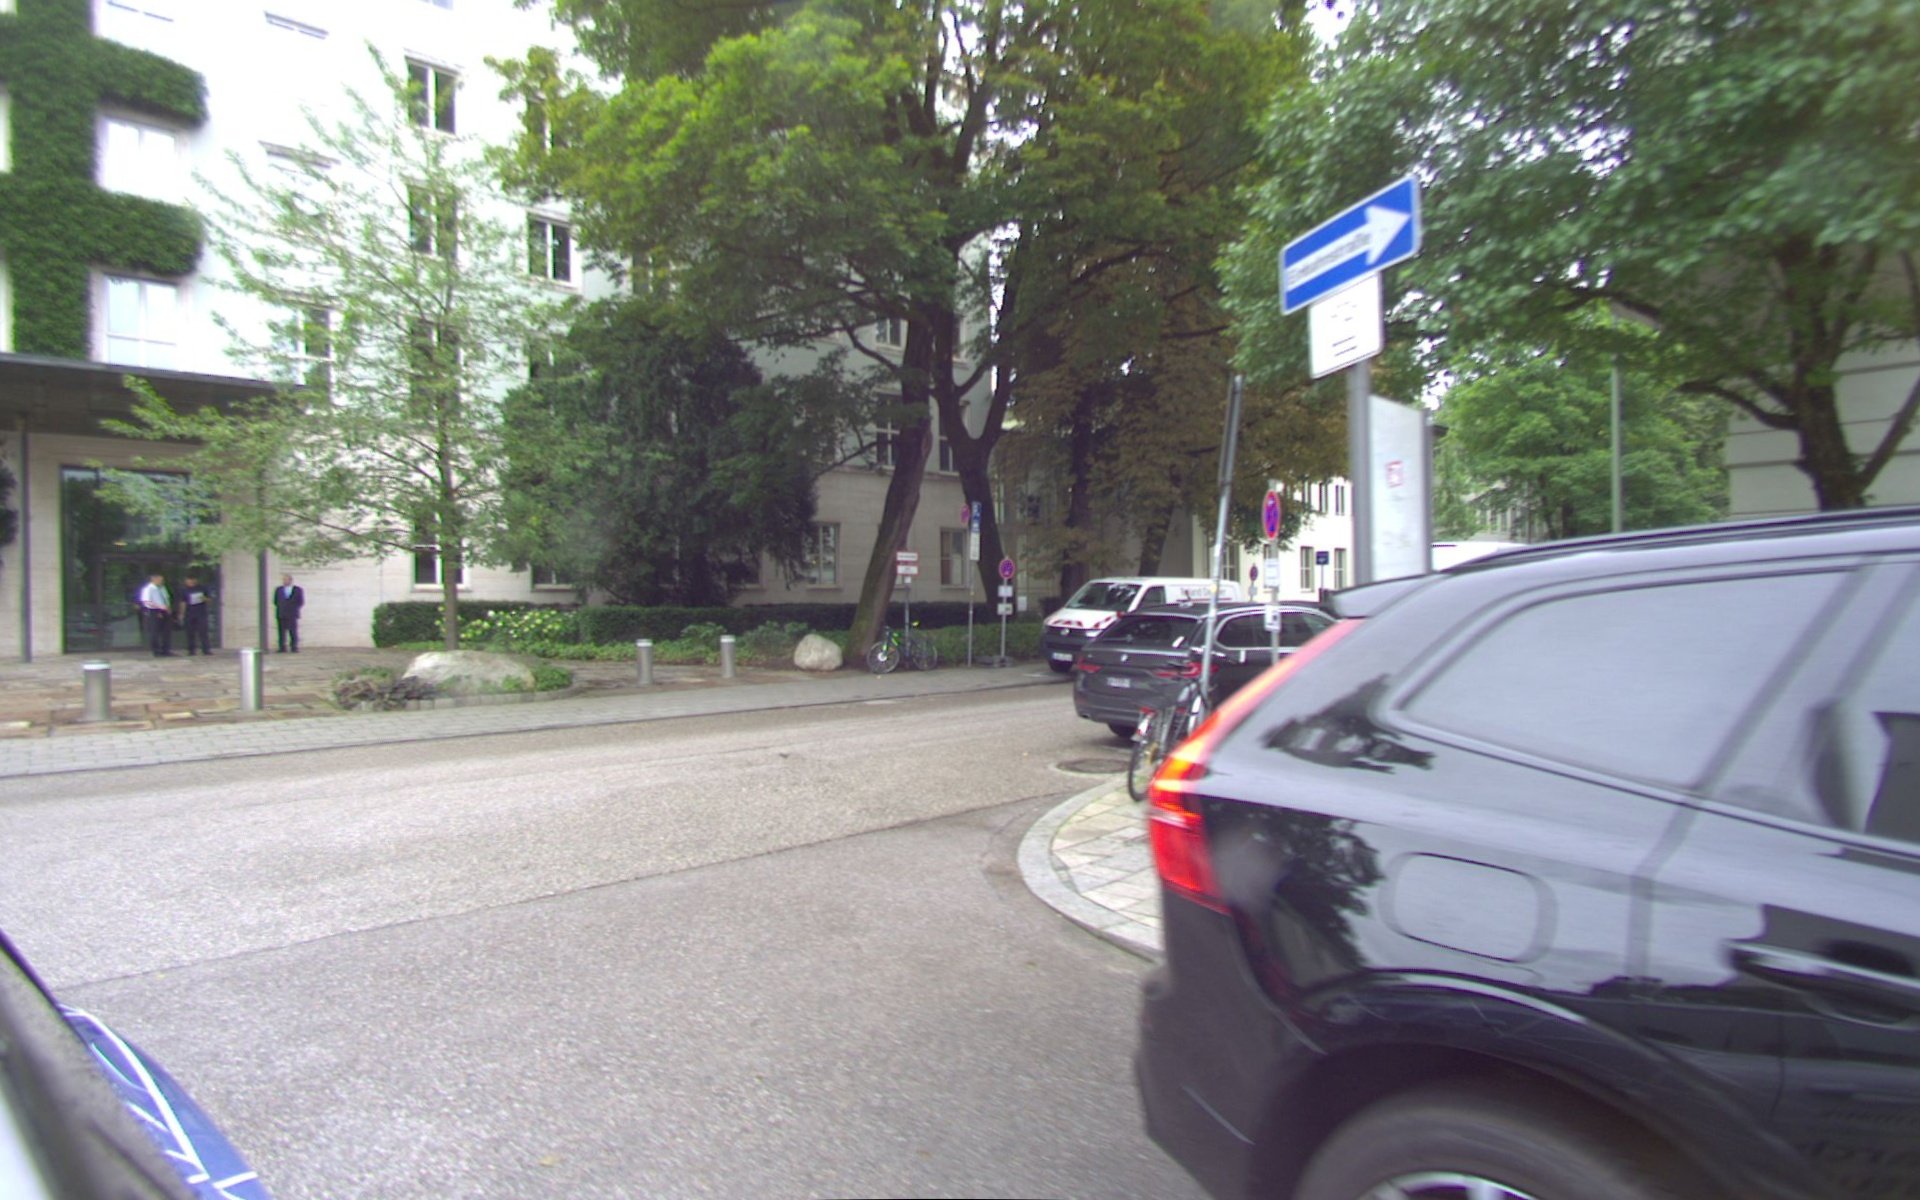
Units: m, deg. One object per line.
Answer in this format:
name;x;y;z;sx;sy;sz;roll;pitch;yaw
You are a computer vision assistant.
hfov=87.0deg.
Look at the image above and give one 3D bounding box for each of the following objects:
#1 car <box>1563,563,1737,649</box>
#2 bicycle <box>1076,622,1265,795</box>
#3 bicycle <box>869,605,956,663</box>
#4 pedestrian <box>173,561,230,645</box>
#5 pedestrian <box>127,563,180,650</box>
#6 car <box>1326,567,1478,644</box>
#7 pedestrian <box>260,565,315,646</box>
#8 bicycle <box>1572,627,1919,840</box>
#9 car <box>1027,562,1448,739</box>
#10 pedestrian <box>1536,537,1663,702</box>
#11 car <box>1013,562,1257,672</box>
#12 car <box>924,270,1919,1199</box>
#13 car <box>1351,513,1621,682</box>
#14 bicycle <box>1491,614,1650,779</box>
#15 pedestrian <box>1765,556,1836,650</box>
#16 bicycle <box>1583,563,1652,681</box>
car;14.781;0.131;21.604;4.251;1.642;2.147;-1;-2;-43
bicycle;1.684;0.744;7.774;0.654;1.036;2.178;-2;1;33
bicycle;-0.957;0.664;20.669;1.739;1.111;0.636;-1;1;-40
pedestrian;-16.398;0.072;21.876;0.753;1.766;0.888;-1;-1;44
pedestrian;-16.854;0.137;21.150;0.741;1.766;0.901;-1;0;-45
car;12.476;0.087;28.373;5.090;1.971;2.192;-1;1;-45
pedestrian;-15.150;0.124;22.796;0.753;1.766;0.888;-1;-1;44
bicycle;4.654;0.690;5.735;0.548;1.036;1.933;-3;1;-38
car;3.190;0.456;11.221;4.514;1.558;2.284;-1;-2;-40
pedestrian;6.999;0.200;11.079;0.960;1.702;0.862;-1;-1;-40
car;3.736;0.244;20.840;5.373;1.971;2.257;-1;1;-45
car;2.369;0.510;1.024;1.915;1.665;5.058;4;-3;-44
car;8.304;-0.020;15.778;4.782;2.225;2.213;-1;-2;-43
bicycle;4.672;0.675;7.691;1.861;1.036;0.432;-3;1;-40
pedestrian;15.698;0.049;18.904;0.764;1.700;0.863;-1;0;-40
bicycle;9.126;0.279;14.096;0.707;1.527;2.017;-2;0;31
